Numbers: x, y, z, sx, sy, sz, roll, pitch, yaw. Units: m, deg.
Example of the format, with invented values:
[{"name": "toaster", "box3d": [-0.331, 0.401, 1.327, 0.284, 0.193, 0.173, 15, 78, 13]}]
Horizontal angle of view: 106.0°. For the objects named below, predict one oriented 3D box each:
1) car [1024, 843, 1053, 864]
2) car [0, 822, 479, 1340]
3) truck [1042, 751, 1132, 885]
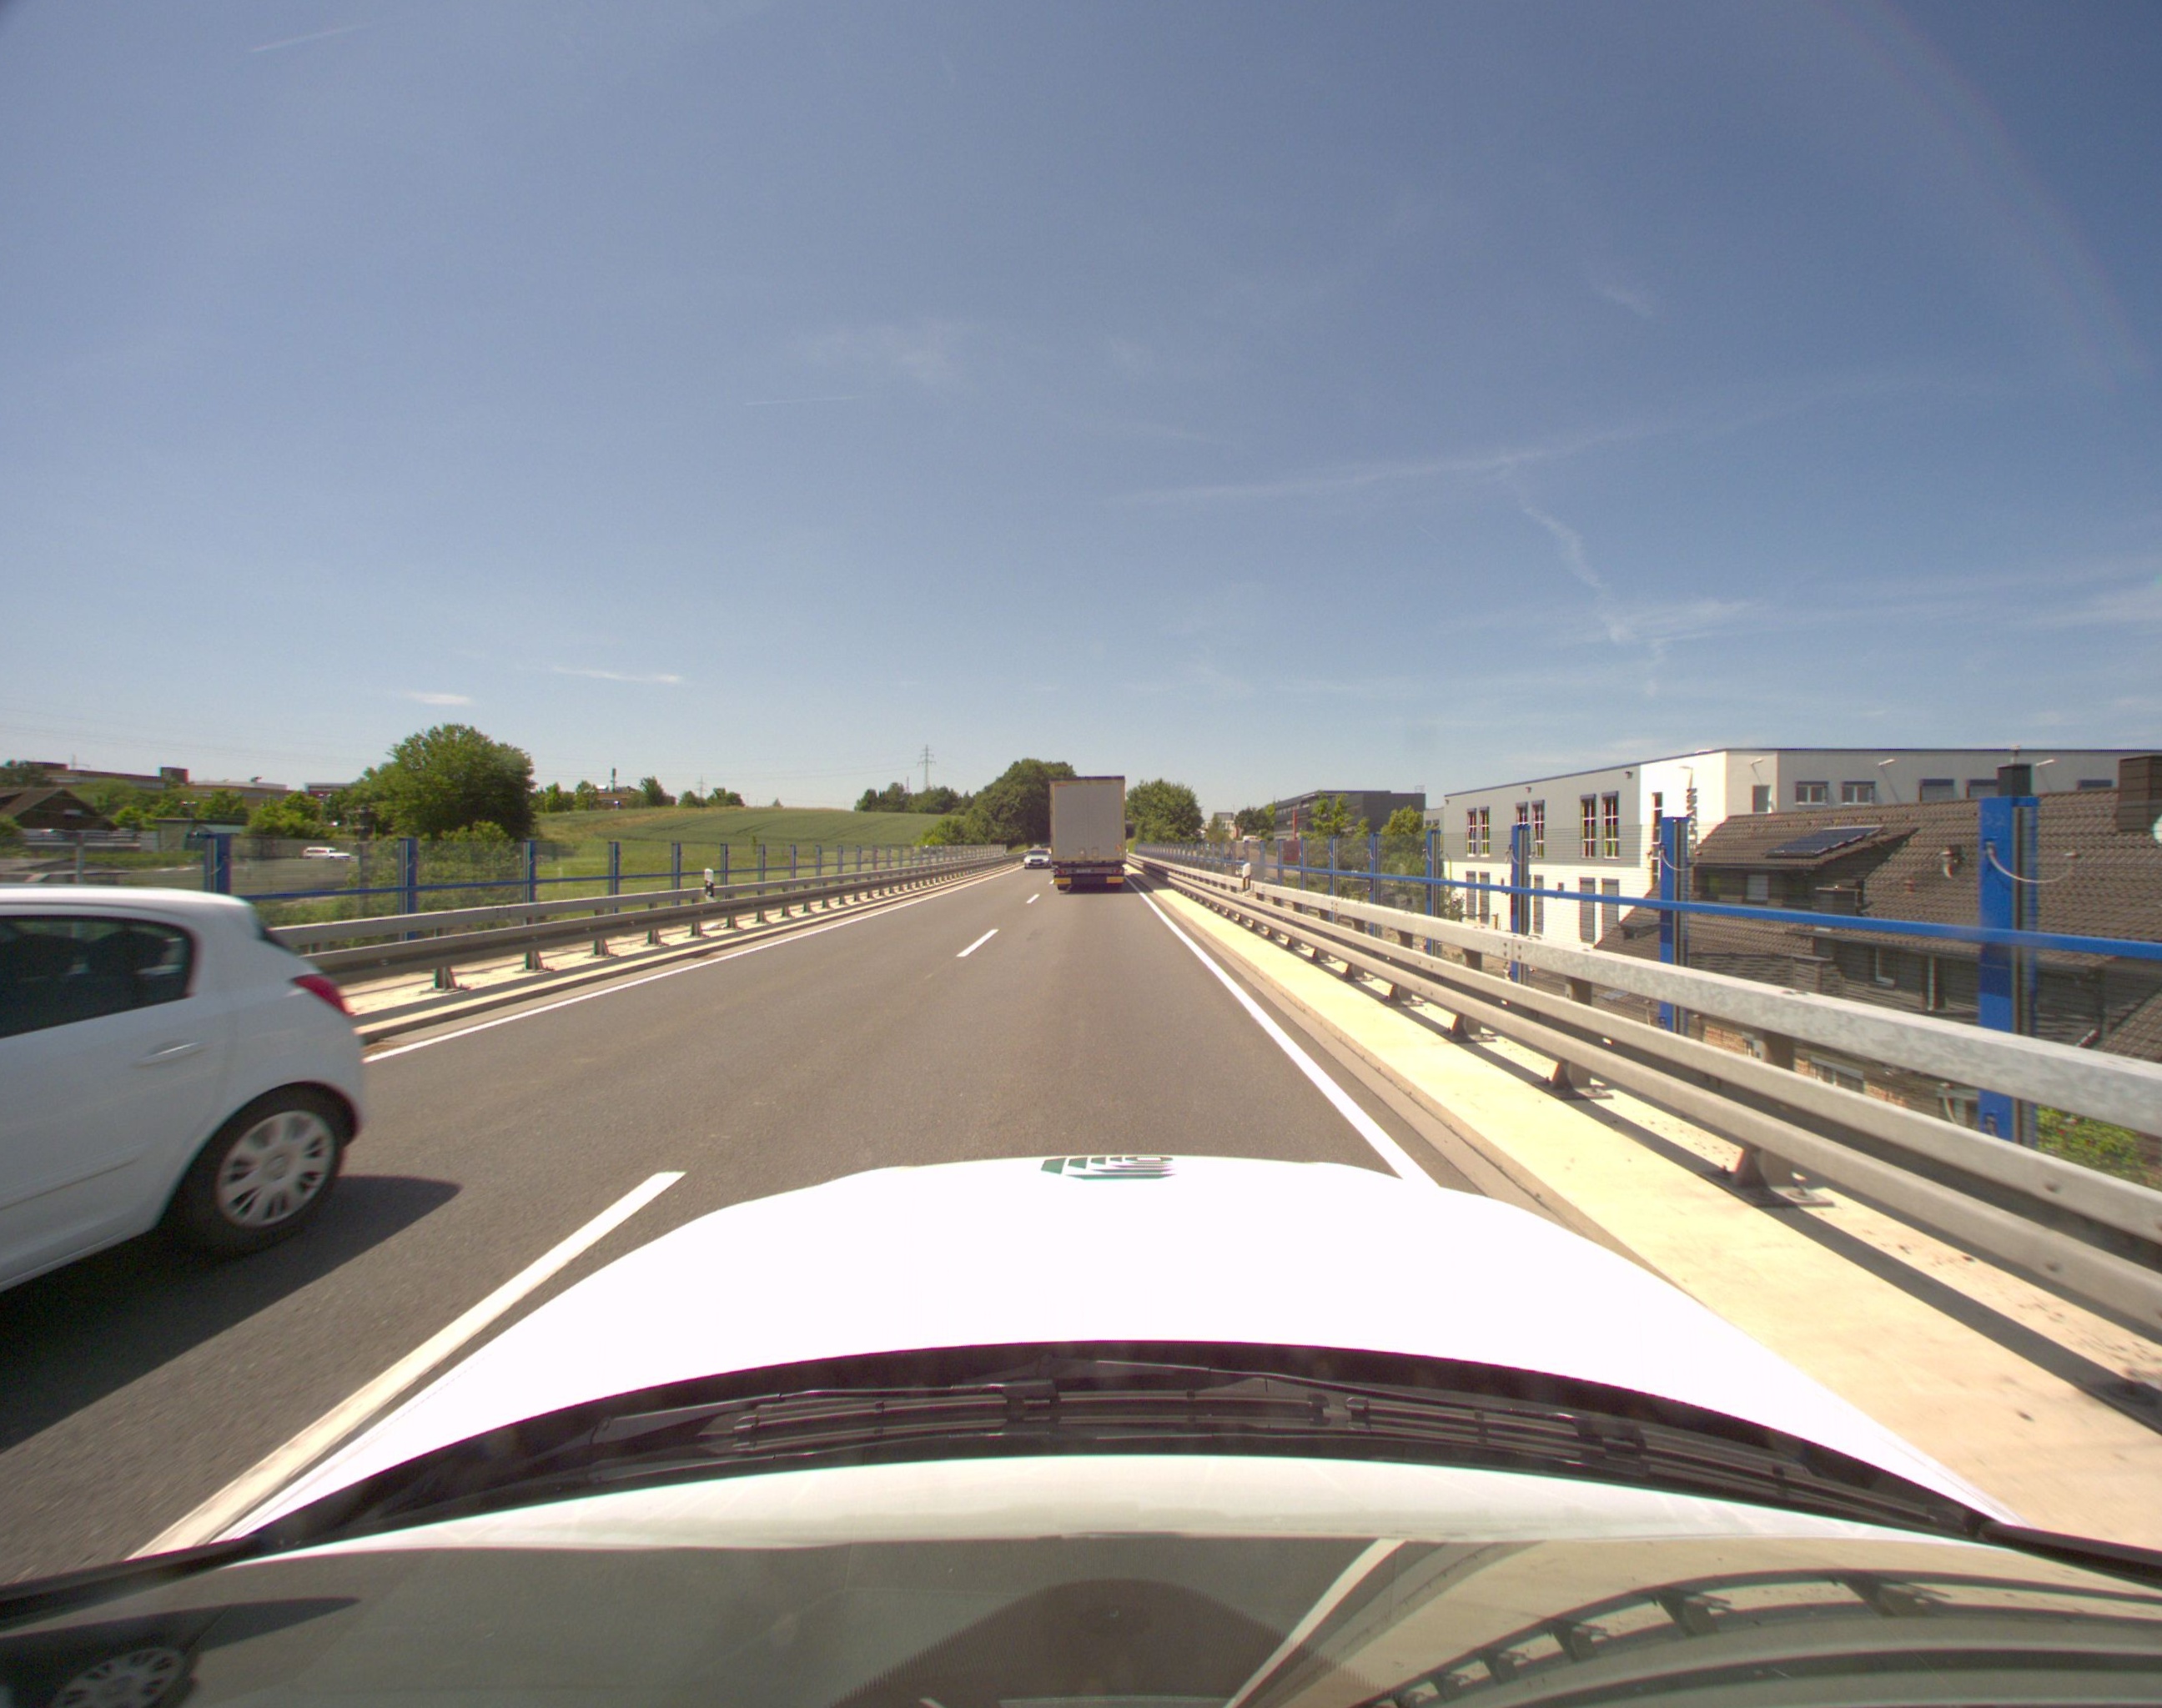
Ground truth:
[{"name": "car", "box3d": [-3.082, -0.090, 59.453, 1.775, 1.435, 4.834, -2, 1, 0]}, {"name": "car", "box3d": [-4.014, 0.688, 2.130, 1.701, 1.505, 4.120, -2, 0, 1]}, {"name": "truck", "box3d": [0.264, -1.183, 32.027, 2.856, 4.359, 9.789, -2, 0, 1]}]
